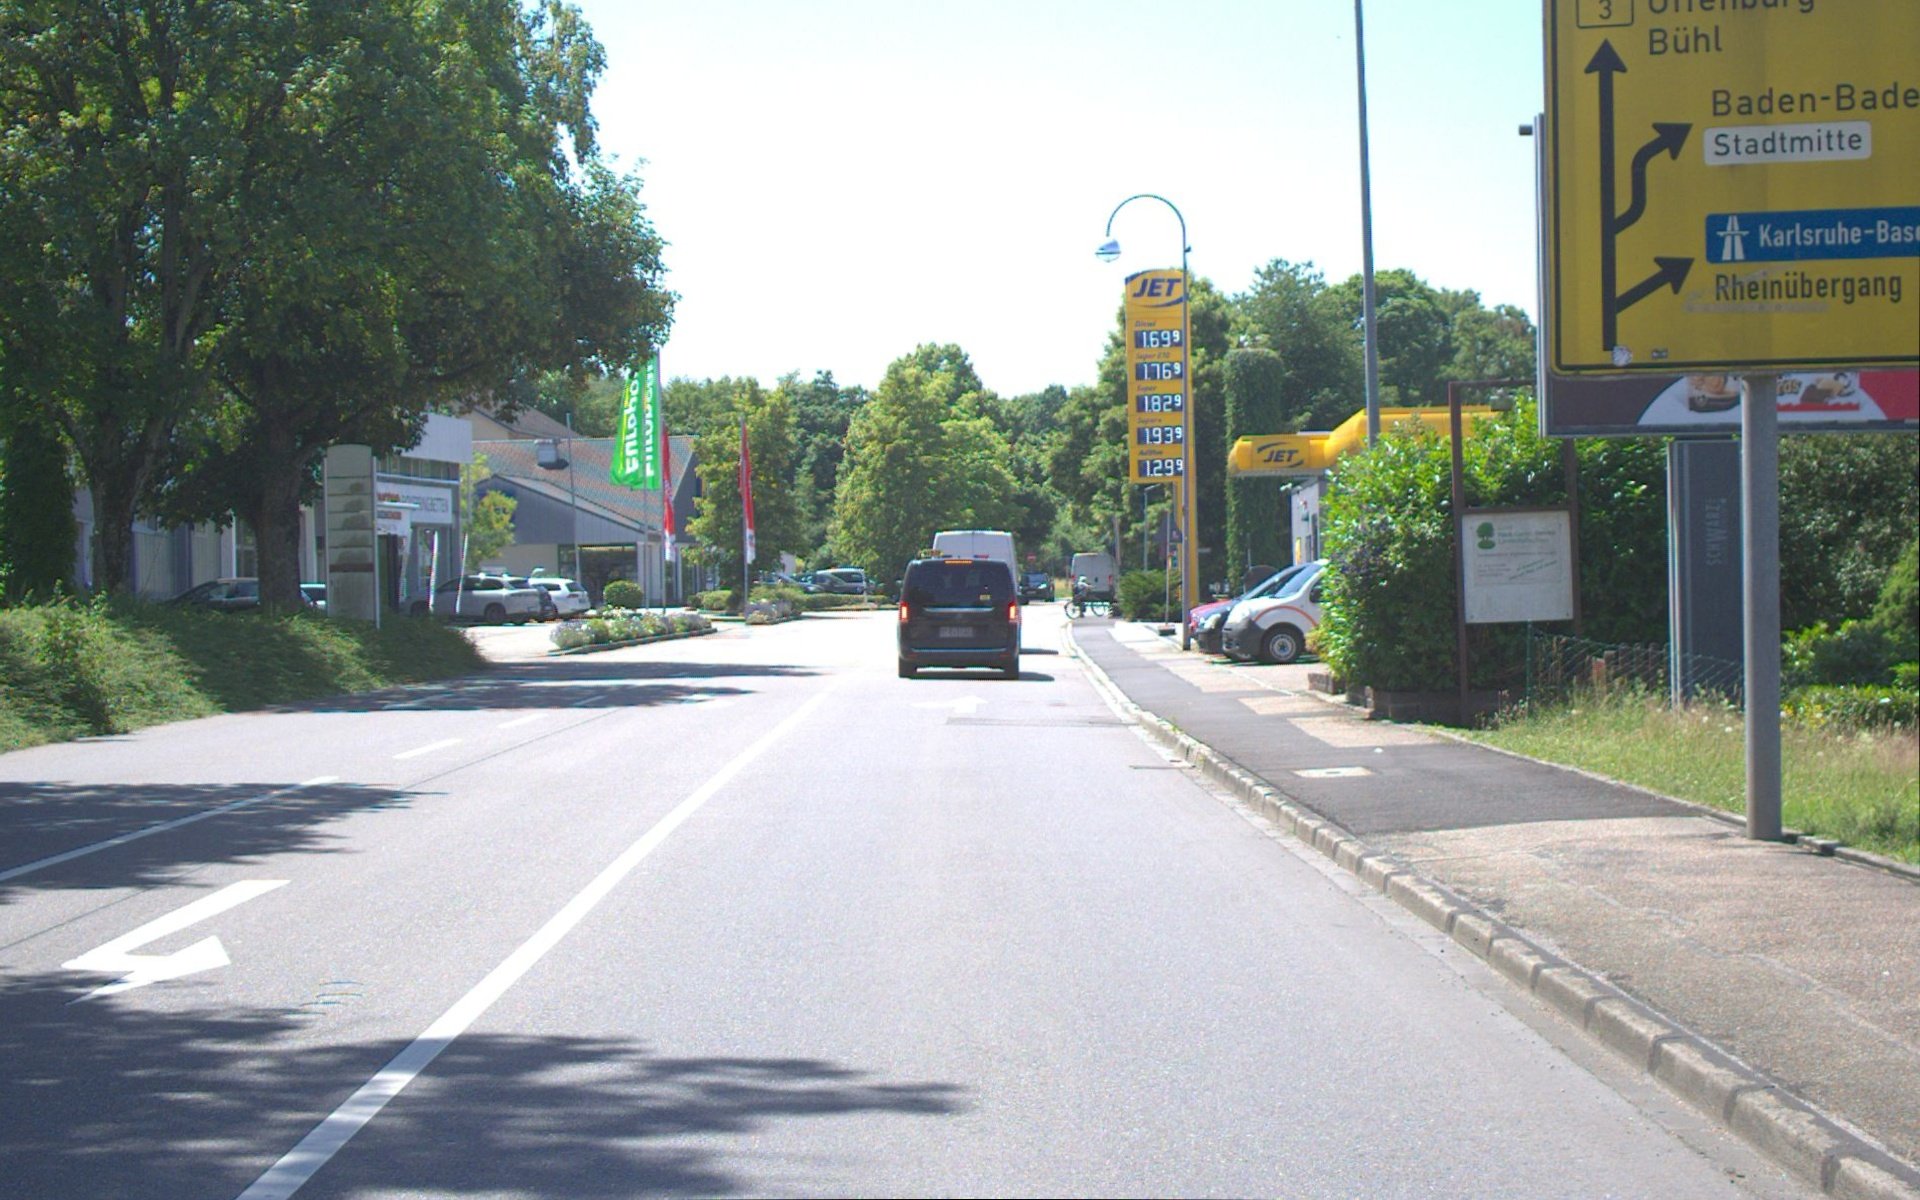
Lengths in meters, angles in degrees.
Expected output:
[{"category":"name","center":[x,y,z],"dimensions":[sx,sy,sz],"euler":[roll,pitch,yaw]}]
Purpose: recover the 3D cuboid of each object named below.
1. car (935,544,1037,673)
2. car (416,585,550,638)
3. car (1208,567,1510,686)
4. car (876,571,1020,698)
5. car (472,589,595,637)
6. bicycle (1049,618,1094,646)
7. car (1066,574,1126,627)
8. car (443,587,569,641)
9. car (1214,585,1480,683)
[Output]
[{"category":"car","center":[0.537,0.145,74.656],"dimensions":[2.120,2.668,5.662],"euler":[0,1,0]},{"category":"car","center":[-16.140,0.371,116.316],"dimensions":[4.045,1.700,1.901],"euler":[1,1,17]},{"category":"car","center":[6.488,0.414,56.174],"dimensions":[4.556,1.711,2.000],"euler":[-2,1,-4]},{"category":"car","center":[-0.223,0.503,53.770],"dimensions":[1.993,1.887,4.001],"euler":[0,1,-4]},{"category":"car","center":[-15.375,0.467,124.123],"dimensions":[3.988,1.656,1.999],"euler":[1,1,10]},{"category":"bicycle","center":[3.896,1.115,119.930],"dimensions":[0.557,0.884,1.716],"euler":[2,4,44]},{"category":"car","center":[6.736,-0.010,169.687],"dimensions":[2.353,2.538,4.954],"euler":[1,1,9]},{"category":"car","center":[-15.934,0.493,120.725],"dimensions":[3.989,1.826,1.945],"euler":[1,1,12]},{"category":"car","center":[6.533,0.562,58.350],"dimensions":[4.156,1.452,1.907],"euler":[-2,1,-4]}]
